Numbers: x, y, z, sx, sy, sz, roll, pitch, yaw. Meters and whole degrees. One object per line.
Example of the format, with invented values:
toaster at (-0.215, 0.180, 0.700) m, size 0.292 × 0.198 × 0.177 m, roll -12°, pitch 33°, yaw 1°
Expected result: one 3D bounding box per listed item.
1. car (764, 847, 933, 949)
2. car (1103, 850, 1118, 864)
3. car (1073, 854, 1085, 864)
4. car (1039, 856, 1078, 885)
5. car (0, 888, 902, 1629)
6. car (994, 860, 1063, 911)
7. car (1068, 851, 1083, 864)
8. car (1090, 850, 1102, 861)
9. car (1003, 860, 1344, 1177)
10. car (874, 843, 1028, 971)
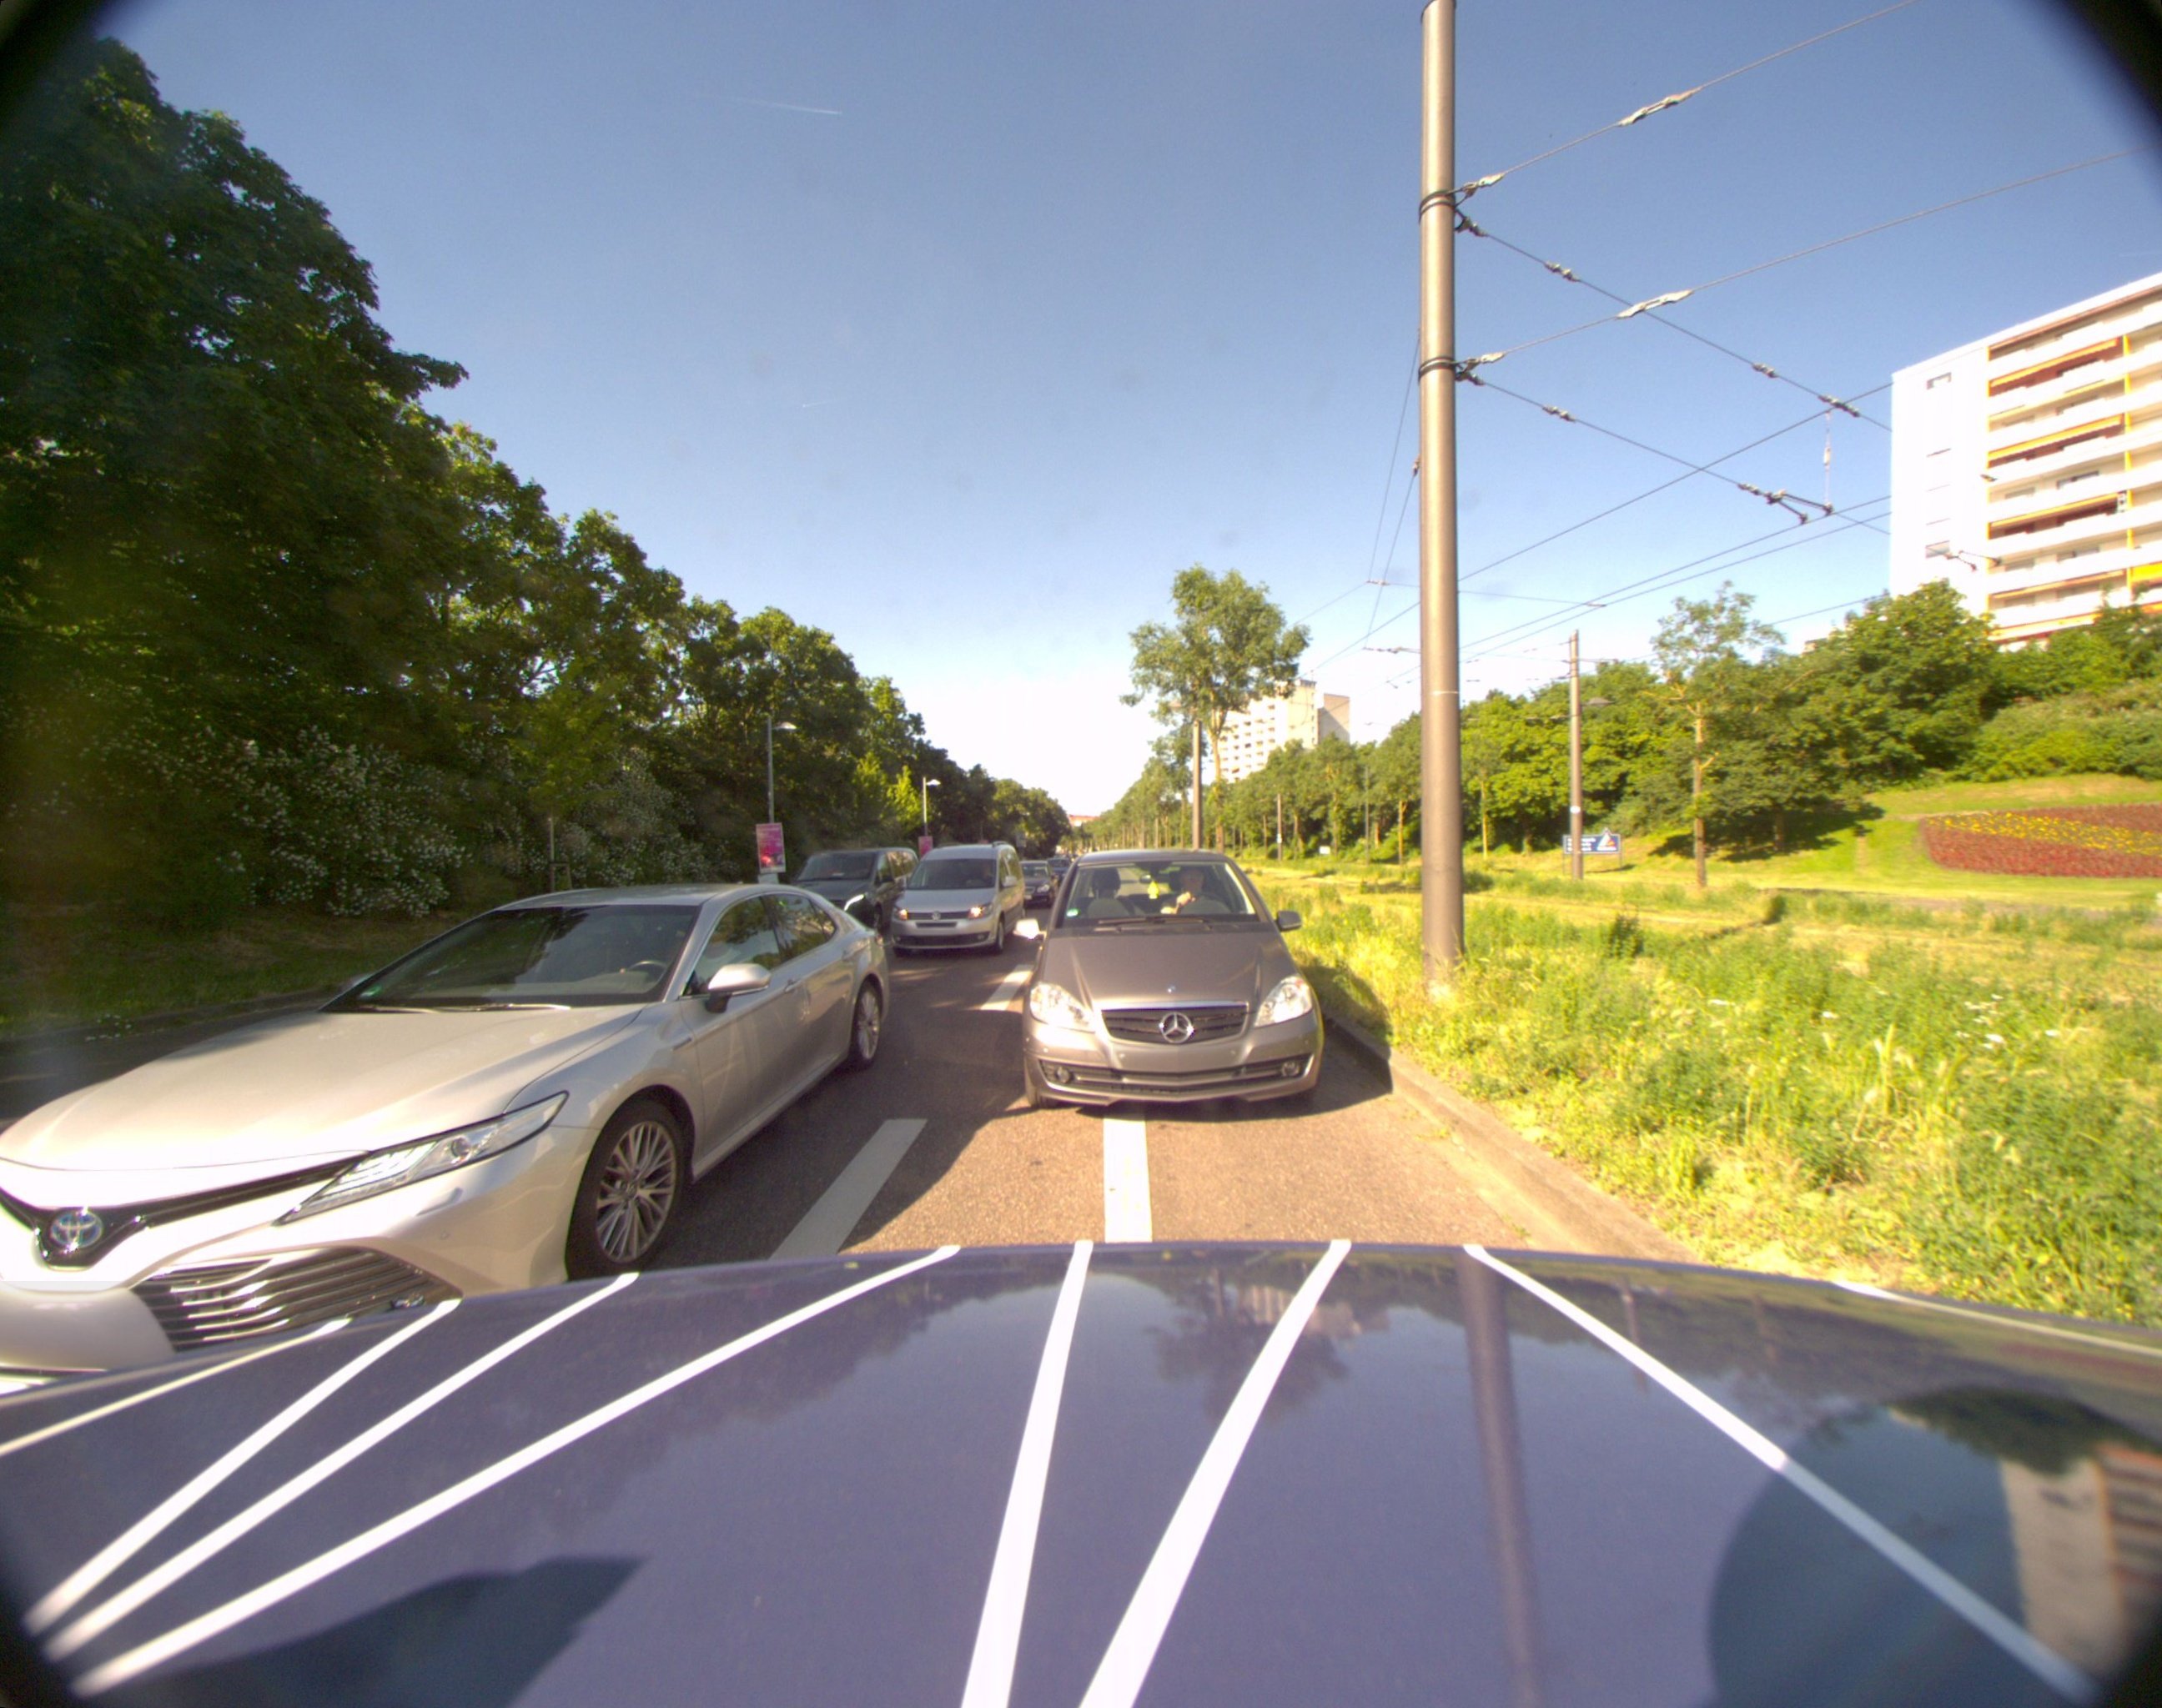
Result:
car at (-4.850, 0.804, 16.760) m, size 1.998 × 1.882 × 5.148 m, roll -1°, pitch 0°, yaw 1°
car at (3.620, 0.345, 93.682) m, size 1.777 × 1.597 × 4.384 m, roll -1°, pitch 0°, yaw 1°
car at (-0.346, 0.801, 123.464) m, size 1.777 × 1.597 × 4.384 m, roll -1°, pitch 0°, yaw 1°
car at (-1.128, 0.836, 39.850) m, size 1.776 × 1.395 × 4.067 m, roll -1°, pitch 0°, yaw 2°
car at (-2.640, 1.041, 4.117) m, size 2.069 × 1.451 × 4.749 m, roll -1°, pitch 0°, yaw 2°
car at (-1.571, 0.936, 24.187) m, size 1.776 × 1.395 × 4.067 m, roll -1°, pitch 0°, yaw 2°
car at (-0.718, 0.411, 96.718) m, size 1.777 × 1.597 × 4.384 m, roll -1°, pitch 0°, yaw 1°
car at (2.281, 0.232, 114.575) m, size 1.777 × 1.597 × 4.384 m, roll -1°, pitch 0°, yaw 1°
car at (0.520, 0.891, 6.201) m, size 1.777 × 1.597 × 4.384 m, roll -1°, pitch 0°, yaw 1°
car at (-2.115, 0.783, 13.702) m, size 1.822 × 1.893 × 4.622 m, roll -1°, pitch 0°, yaw 2°
